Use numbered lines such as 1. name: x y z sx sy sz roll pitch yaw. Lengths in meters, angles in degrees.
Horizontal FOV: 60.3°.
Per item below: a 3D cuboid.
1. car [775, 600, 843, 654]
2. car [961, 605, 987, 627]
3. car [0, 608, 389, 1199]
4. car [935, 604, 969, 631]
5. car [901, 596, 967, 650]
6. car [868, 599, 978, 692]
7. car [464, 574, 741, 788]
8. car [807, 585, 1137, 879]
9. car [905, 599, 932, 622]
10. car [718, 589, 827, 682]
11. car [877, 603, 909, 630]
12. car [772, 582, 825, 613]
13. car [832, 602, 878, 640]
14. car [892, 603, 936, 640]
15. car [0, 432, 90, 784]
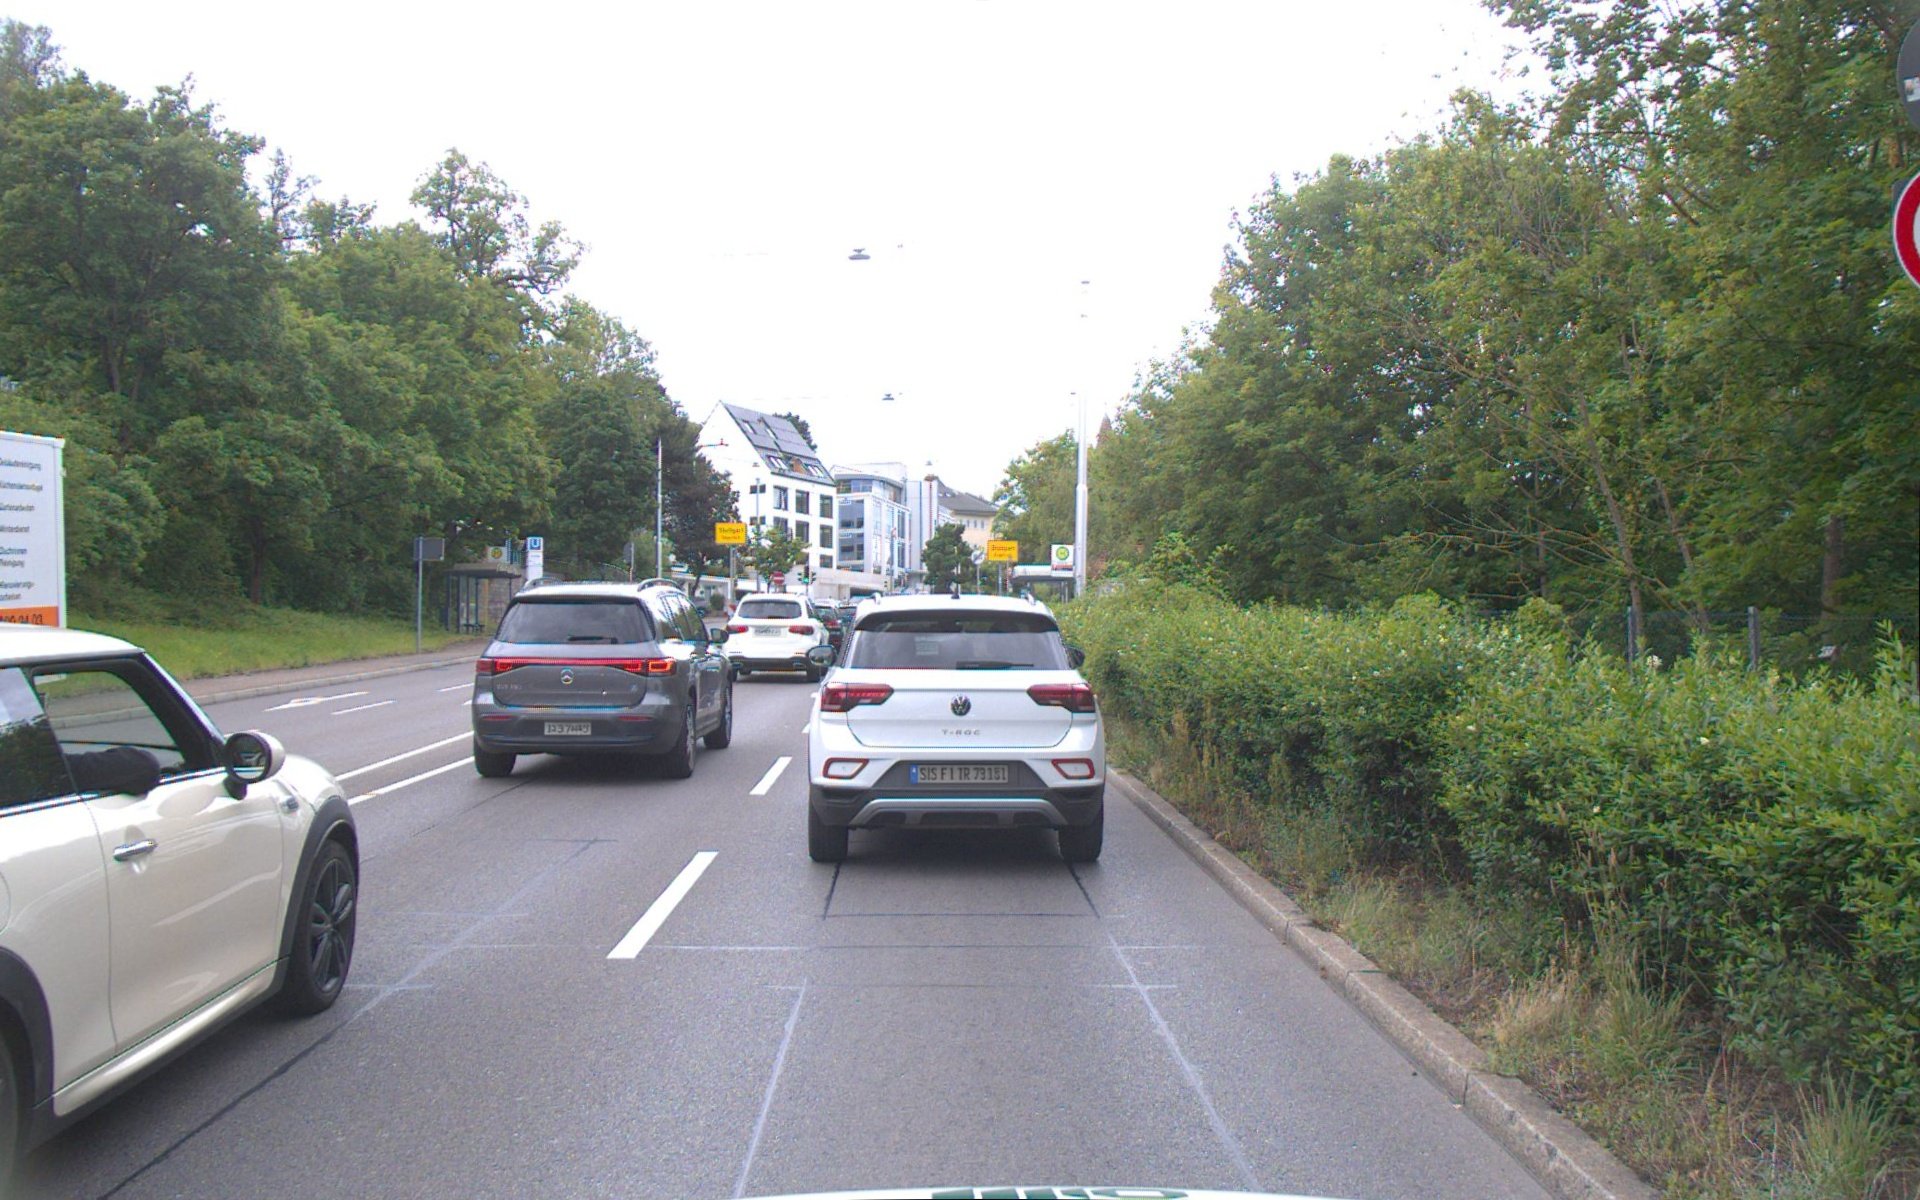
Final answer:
1. car: -4.433 0.770 49.077 1.821 1.527 4.053 -1 0 -3
2. car: 1.050 1.166 122.189 1.819 1.527 4.056 -1 0 2
3. car: -2.953 0.746 4.652 1.595 1.418 3.564 -1 0 -3
4. car: -0.488 1.037 97.413 1.821 1.527 4.053 -1 0 -3
5. car: -0.872 0.700 52.106 1.836 1.527 4.552 3 0 -3
6. car: -0.712 0.766 29.623 1.821 1.527 4.053 -1 0 -3
7. car: -3.142 0.644 15.452 1.776 1.681 4.633 -1 0 -3
8. car: -0.019 0.712 10.796 1.775 1.566 3.687 -1 0 -3
9. car: -2.797 0.680 111.182 1.820 1.527 4.054 -1 0 -2
10. car: -3.589 0.649 32.392 1.821 1.681 4.633 -1 0 -3
11. car: -3.945 0.965 96.535 1.821 1.527 4.053 -1 0 -3
12. car: -13.958 -0.207 143.145 2.184 2.613 7.427 0 0 14
13. car: -4.359 0.856 69.188 1.821 1.527 4.053 -1 0 -3
14. car: -2.031 0.923 72.237 1.821 1.527 4.053 -1 0 -3
15. car: -9.495 0.059 12.578 2.224 3.110 7.231 0 0 -3
